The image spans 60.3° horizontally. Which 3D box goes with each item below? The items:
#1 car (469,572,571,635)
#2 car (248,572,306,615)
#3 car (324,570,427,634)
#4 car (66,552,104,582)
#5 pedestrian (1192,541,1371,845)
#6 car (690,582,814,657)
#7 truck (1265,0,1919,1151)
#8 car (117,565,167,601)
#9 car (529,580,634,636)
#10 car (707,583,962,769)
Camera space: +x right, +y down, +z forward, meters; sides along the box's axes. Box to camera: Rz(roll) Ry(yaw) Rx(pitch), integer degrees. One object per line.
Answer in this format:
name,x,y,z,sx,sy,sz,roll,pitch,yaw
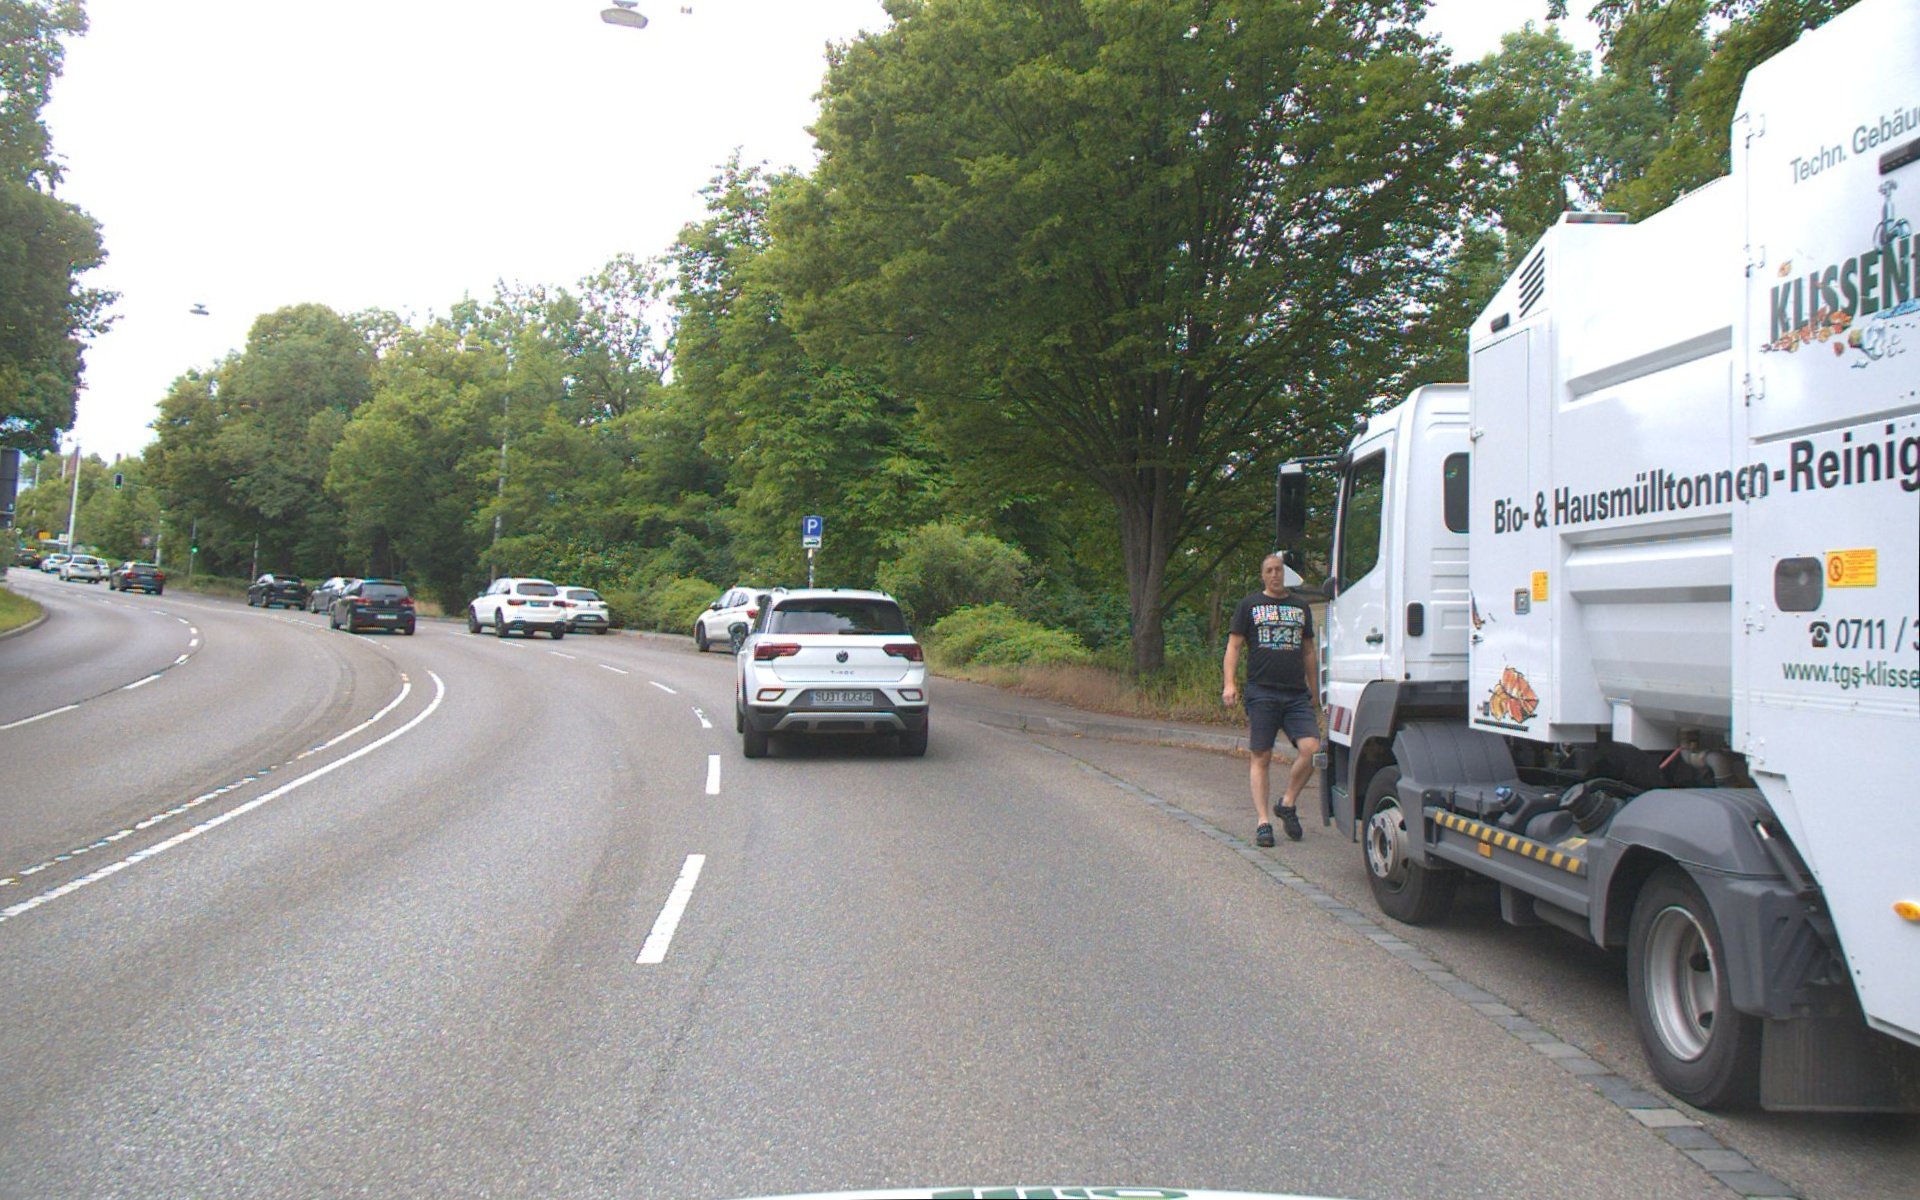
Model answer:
car,-12.607,0.074,47.239,1.833,1.732,3.958,0,0,-31
car,-29.758,-0.291,71.983,1.747,1.634,3.961,5,0,-30
car,-16.165,0.038,45.659,1.929,1.491,3.960,5,0,-30
car,-52.109,-1.974,98.453,1.693,1.617,3.959,5,0,-31
pedestrian,2.072,0.585,10.789,0.898,1.866,0.984,2,-1,-2
car,-5.076,0.431,39.868,1.735,1.681,4.347,1,0,-24
truck,3.334,-0.313,6.949,2.432,3.237,7.224,1,0,-3
car,-40.070,-0.838,80.983,1.971,1.512,3.964,5,0,-28
car,-12.301,0.247,53.554,1.718,1.508,4.647,5,0,-34
car,-1.391,0.667,16.645,1.966,1.624,3.987,1,0,-13
